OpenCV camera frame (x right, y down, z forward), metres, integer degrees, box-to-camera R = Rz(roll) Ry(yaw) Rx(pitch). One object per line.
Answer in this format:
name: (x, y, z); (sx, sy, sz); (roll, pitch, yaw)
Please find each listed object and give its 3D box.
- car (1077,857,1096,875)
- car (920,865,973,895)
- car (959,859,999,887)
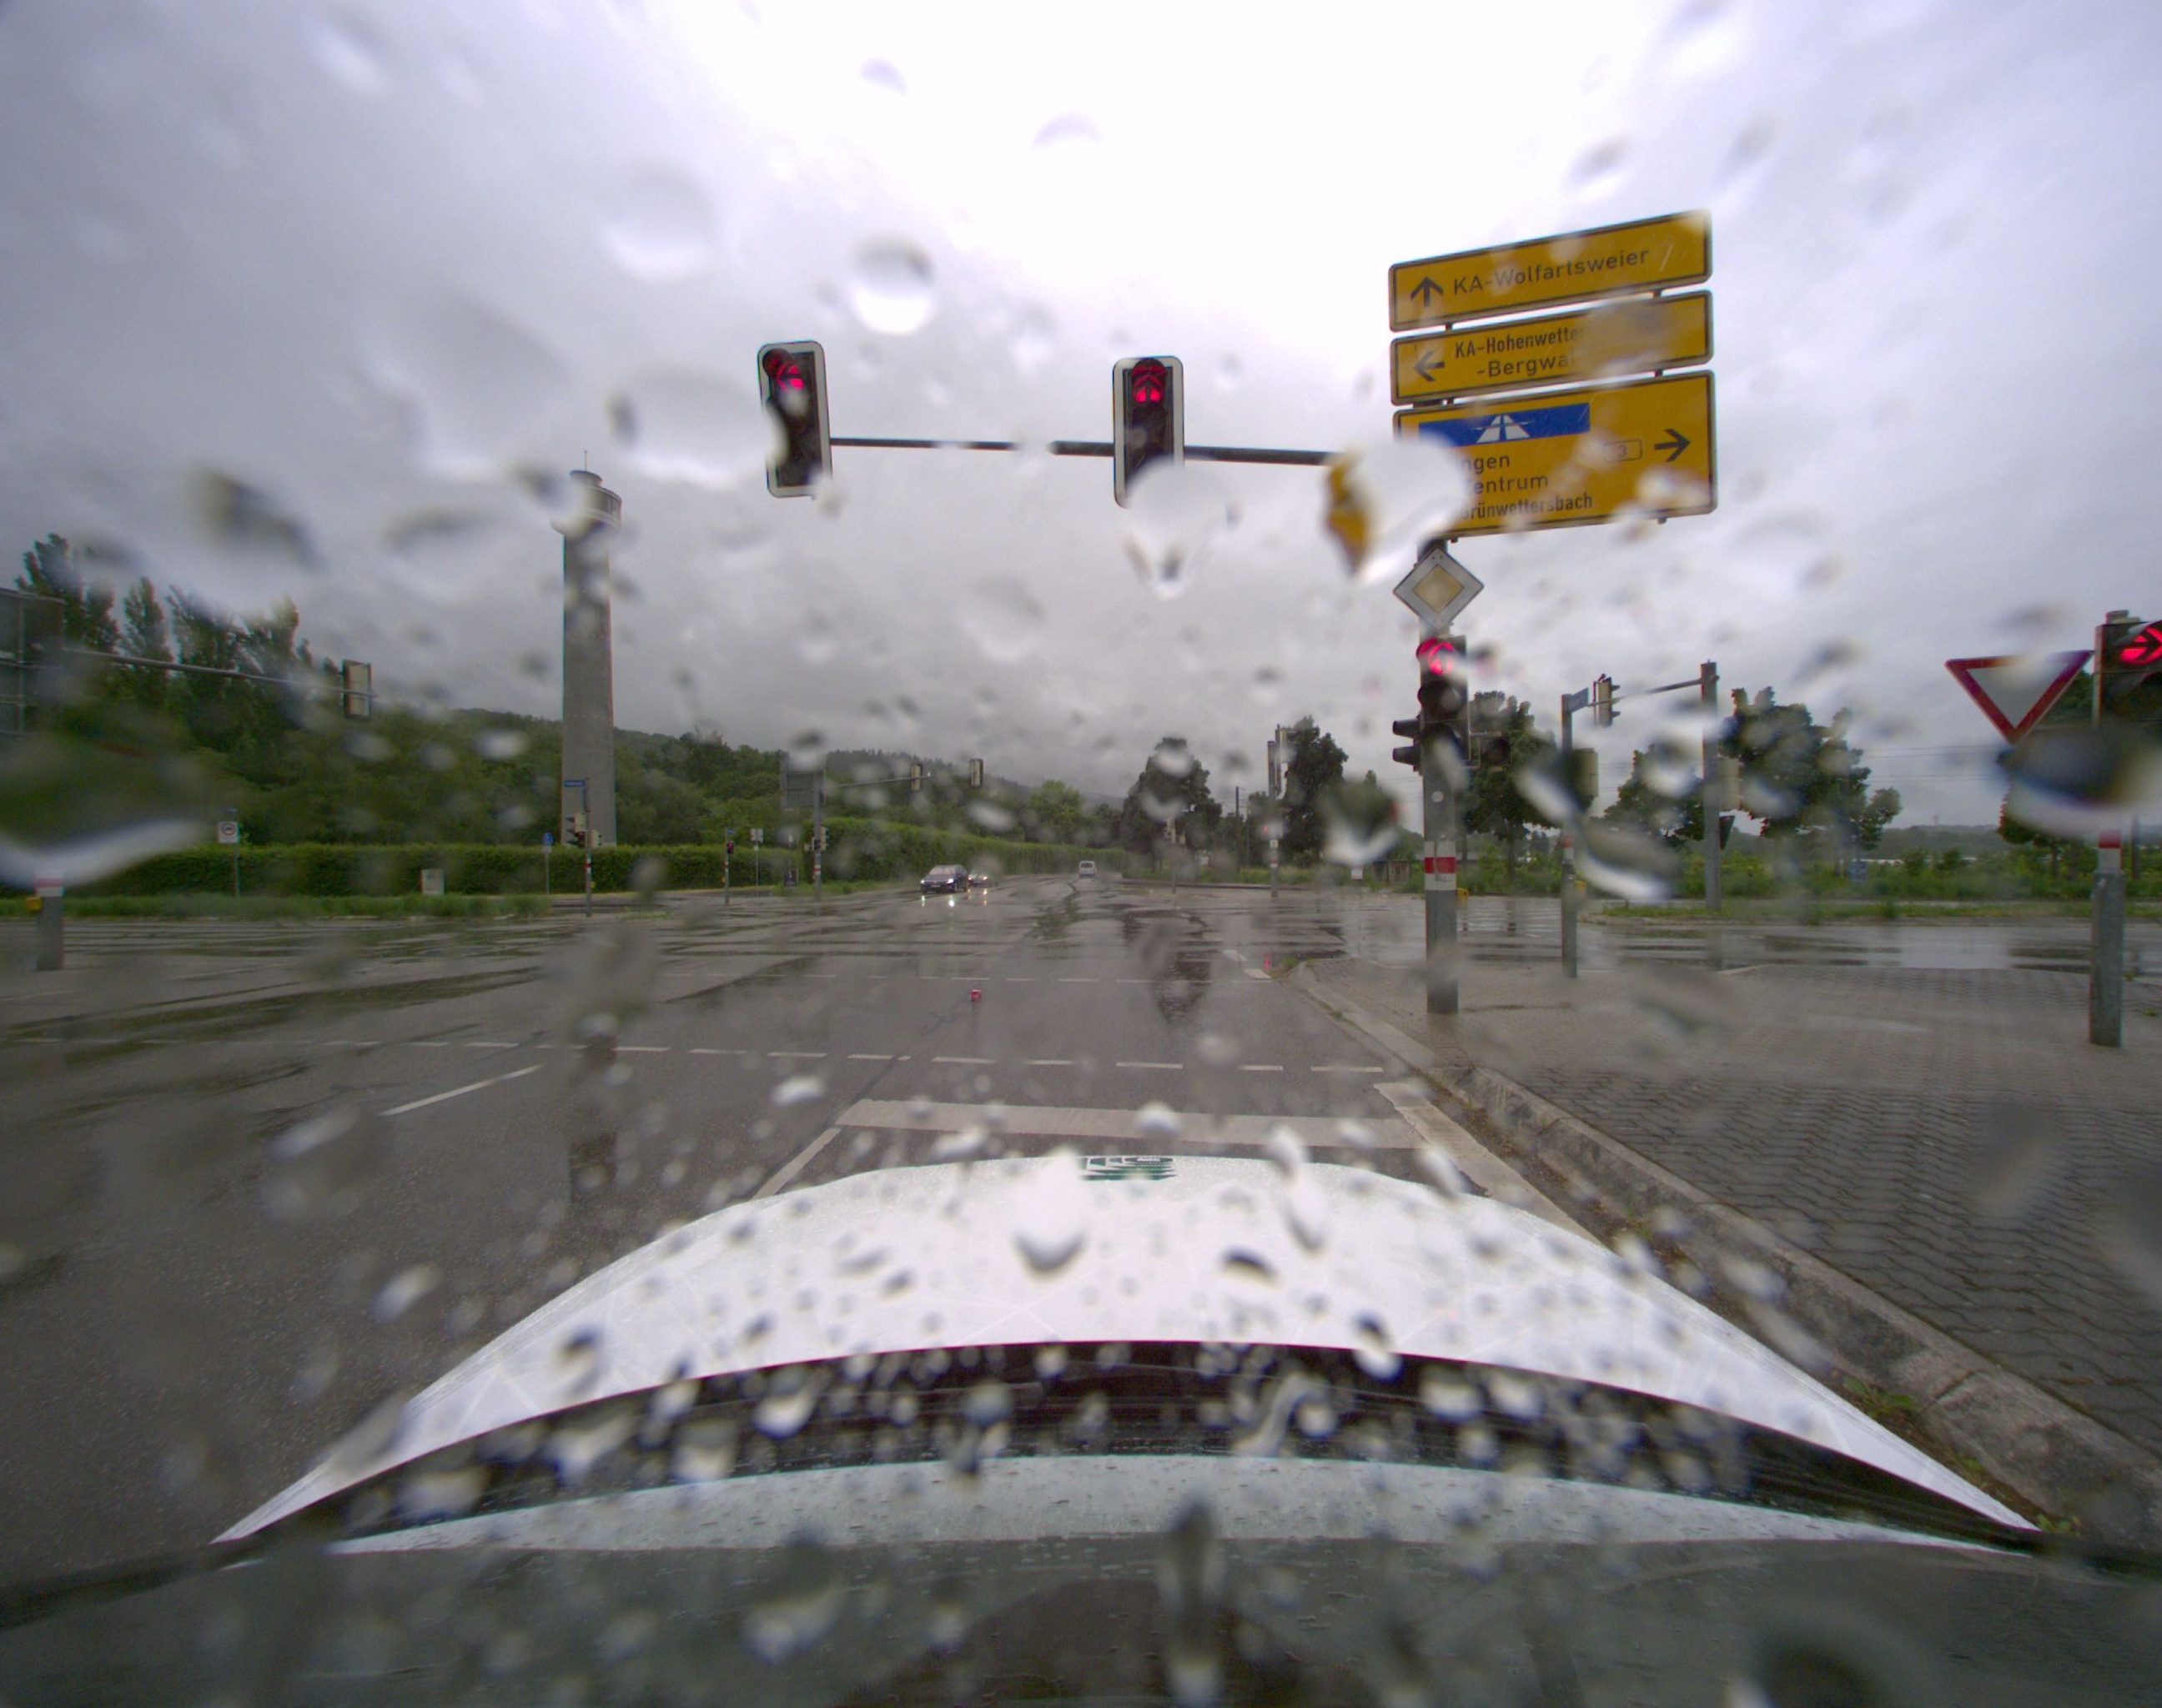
car: (0.579, 1.252, 88.044); (1.947, 1.904, 4.119); (-1, 0, 0)
car: (-7.157, 1.377, 43.759); (1.700, 1.466, 4.458); (-1, 0, 5)
car: (-6.742, 1.210, 54.175); (2.029, 1.708, 4.067); (-1, 0, 2)
